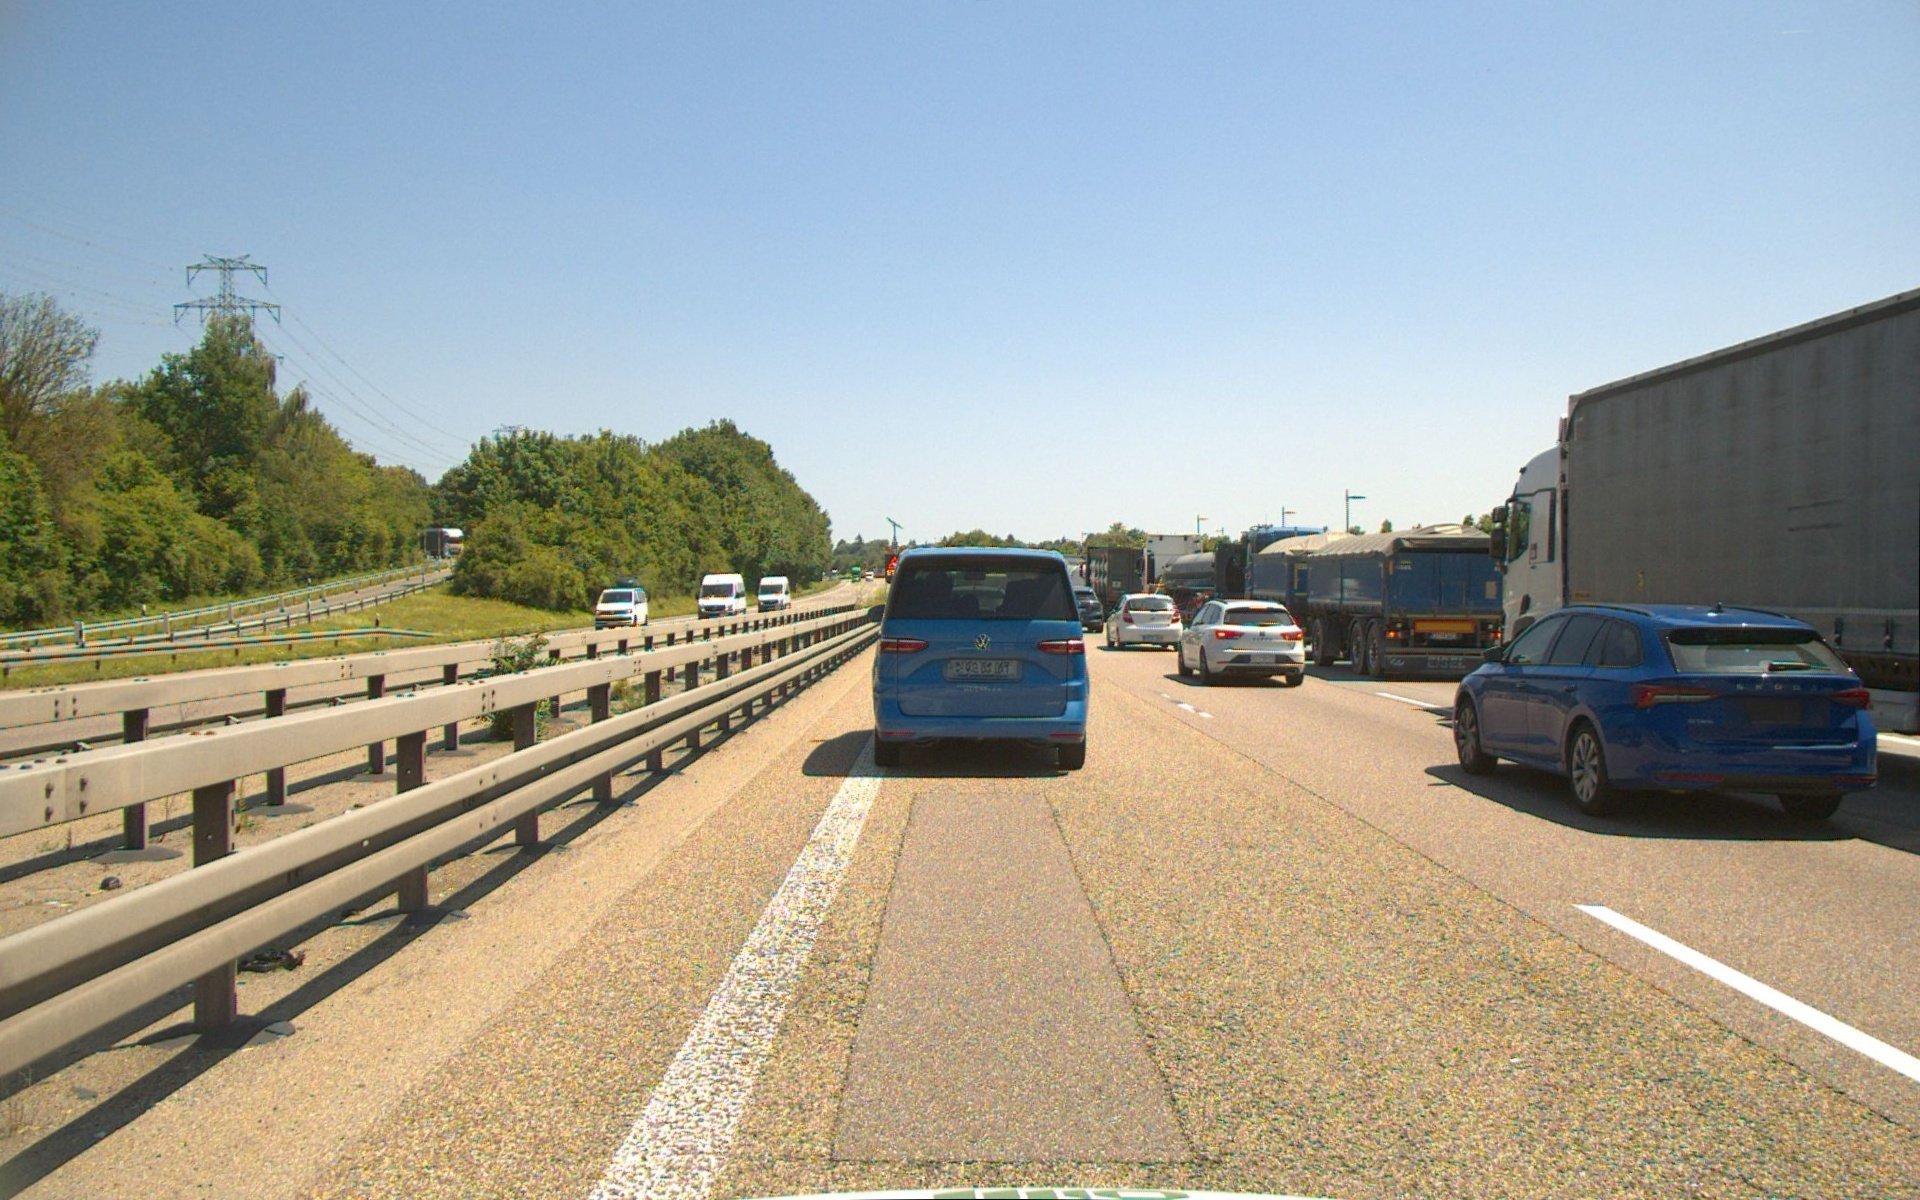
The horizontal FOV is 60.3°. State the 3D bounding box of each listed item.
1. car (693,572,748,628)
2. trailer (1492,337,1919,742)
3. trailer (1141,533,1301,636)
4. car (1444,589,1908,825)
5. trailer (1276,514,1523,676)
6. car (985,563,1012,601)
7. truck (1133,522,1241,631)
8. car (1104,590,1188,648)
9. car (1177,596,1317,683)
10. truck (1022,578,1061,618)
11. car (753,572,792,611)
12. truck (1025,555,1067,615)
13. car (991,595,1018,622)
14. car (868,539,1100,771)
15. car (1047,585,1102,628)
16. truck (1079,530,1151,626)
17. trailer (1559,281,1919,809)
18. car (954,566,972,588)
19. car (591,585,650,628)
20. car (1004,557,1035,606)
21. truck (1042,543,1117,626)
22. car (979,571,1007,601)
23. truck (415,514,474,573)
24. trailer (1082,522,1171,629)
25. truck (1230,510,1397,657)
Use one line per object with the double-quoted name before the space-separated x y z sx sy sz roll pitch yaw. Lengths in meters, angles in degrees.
"car" -12.644 0.019 87.612 2.011 2.697 5.837 -4 0 -1
"trailer" 8.925 -0.641 20.055 2.864 4.114 6.410 0 0 0
"trailer" 8.944 -0.435 59.155 3.571 3.133 15.774 1 0 1
"car" 5.204 0.695 12.741 1.671 1.466 4.427 1 0 0
"trailer" 8.848 -0.115 34.560 2.687 2.886 9.115 1 0 0
"car" 5.613 -2.547 239.544 3.154 5.349 8.138 1 0 -4
"truck" 9.261 -0.895 68.377 3.551 4.166 7.525 1 0 1
"car" 4.997 0.511 44.969 1.803 1.480 3.999 1 0 0
"car" 4.986 0.643 29.225 1.829 1.385 4.001 1 0 1
"truck" 4.079 -0.080 82.947 1.690 1.890 3.999 1 0 -1
"car" -13.396 -0.570 118.478 2.112 2.639 5.889 -1 0 -1
"truck" 7.575 -1.248 146.615 3.006 5.006 10.688 1 0 -1
"car" 3.553 0.671 131.768 1.953 2.049 3.999 1 0 -1
"car" 0.235 0.464 15.546 1.862 1.870 4.000 1 0 1
"car" 4.275 0.241 62.370 1.744 1.551 3.999 1 0 -1
"truck" 8.812 -1.196 94.881 3.583 5.270 5.708 1 -1 0
"trailer" 8.946 -0.427 13.793 2.902 4.120 13.751 0 0 0
"car" 0.451 -3.491 256.679 2.436 3.260 7.367 1 0 -3
"car" -16.413 0.311 80.276 1.827 1.938 5.491 -2 0 -2
"car" 6.592 -2.007 184.783 3.152 5.349 8.143 1 0 0
"truck" 8.022 -0.937 113.753 3.548 5.304 15.683 1 0 -2
"car" 3.115 -1.340 158.813 2.499 2.765 5.620 1 0 -1
"truck" -69.819 -7.532 223.834 4.623 7.354 13.502 1 -1 -30
"trailer" 8.715 -1.150 88.512 3.571 5.226 13.076 1 0 1
"truck" 8.853 -0.407 42.216 2.687 3.369 7.132 1 0 0
